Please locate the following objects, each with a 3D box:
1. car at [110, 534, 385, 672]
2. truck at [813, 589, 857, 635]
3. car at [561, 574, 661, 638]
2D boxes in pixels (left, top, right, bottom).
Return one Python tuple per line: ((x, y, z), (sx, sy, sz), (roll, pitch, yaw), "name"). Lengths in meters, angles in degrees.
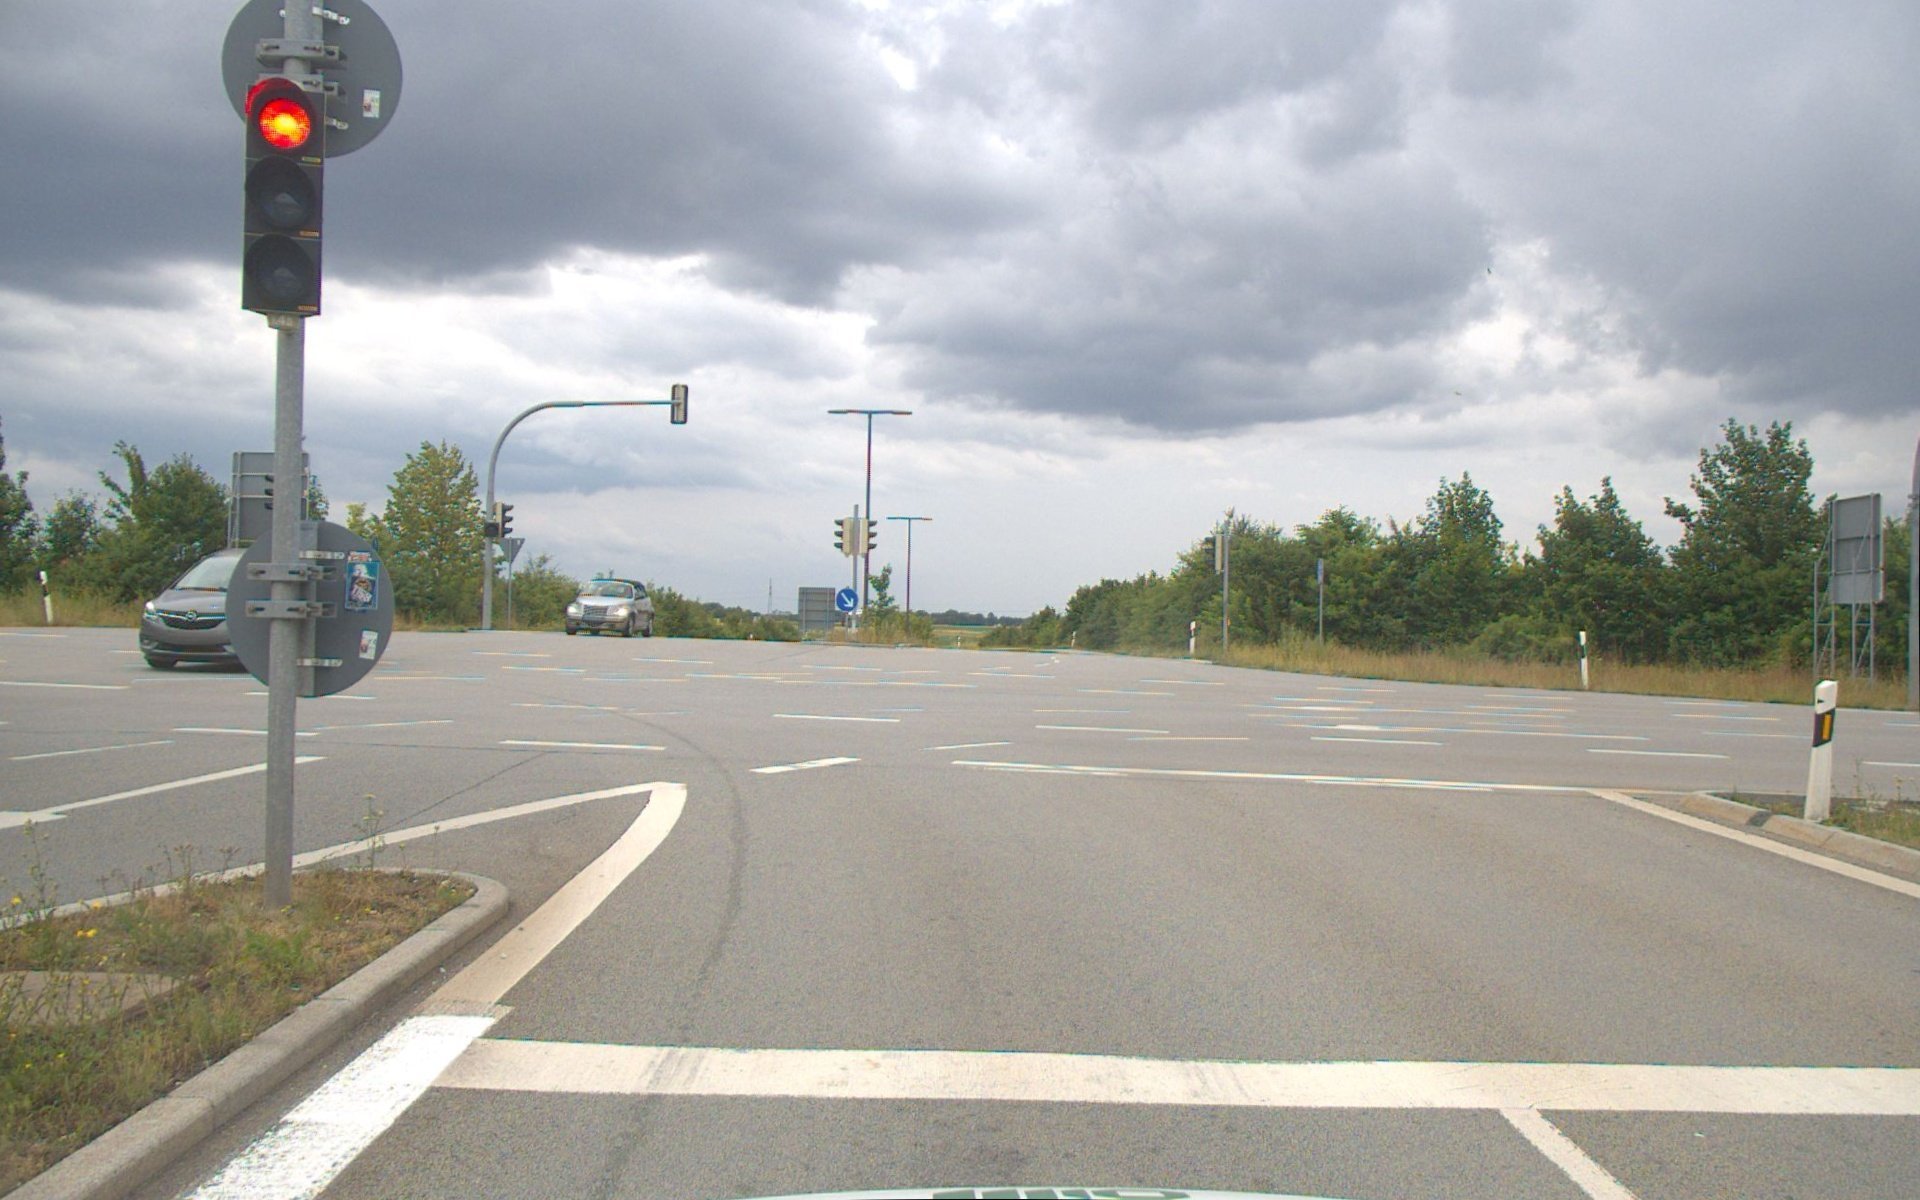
((-9.832, 0.049, 23.253), (1.953, 1.723, 4.454), (1, 0, -1), "car")
((-9.801, 1.017, 130.231), (2.811, 3.468, 8.648), (1, -1, 0), "truck")
((-9.237, 0.113, 44.046), (1.773, 1.546, 4.242), (2, 1, -1), "car")
